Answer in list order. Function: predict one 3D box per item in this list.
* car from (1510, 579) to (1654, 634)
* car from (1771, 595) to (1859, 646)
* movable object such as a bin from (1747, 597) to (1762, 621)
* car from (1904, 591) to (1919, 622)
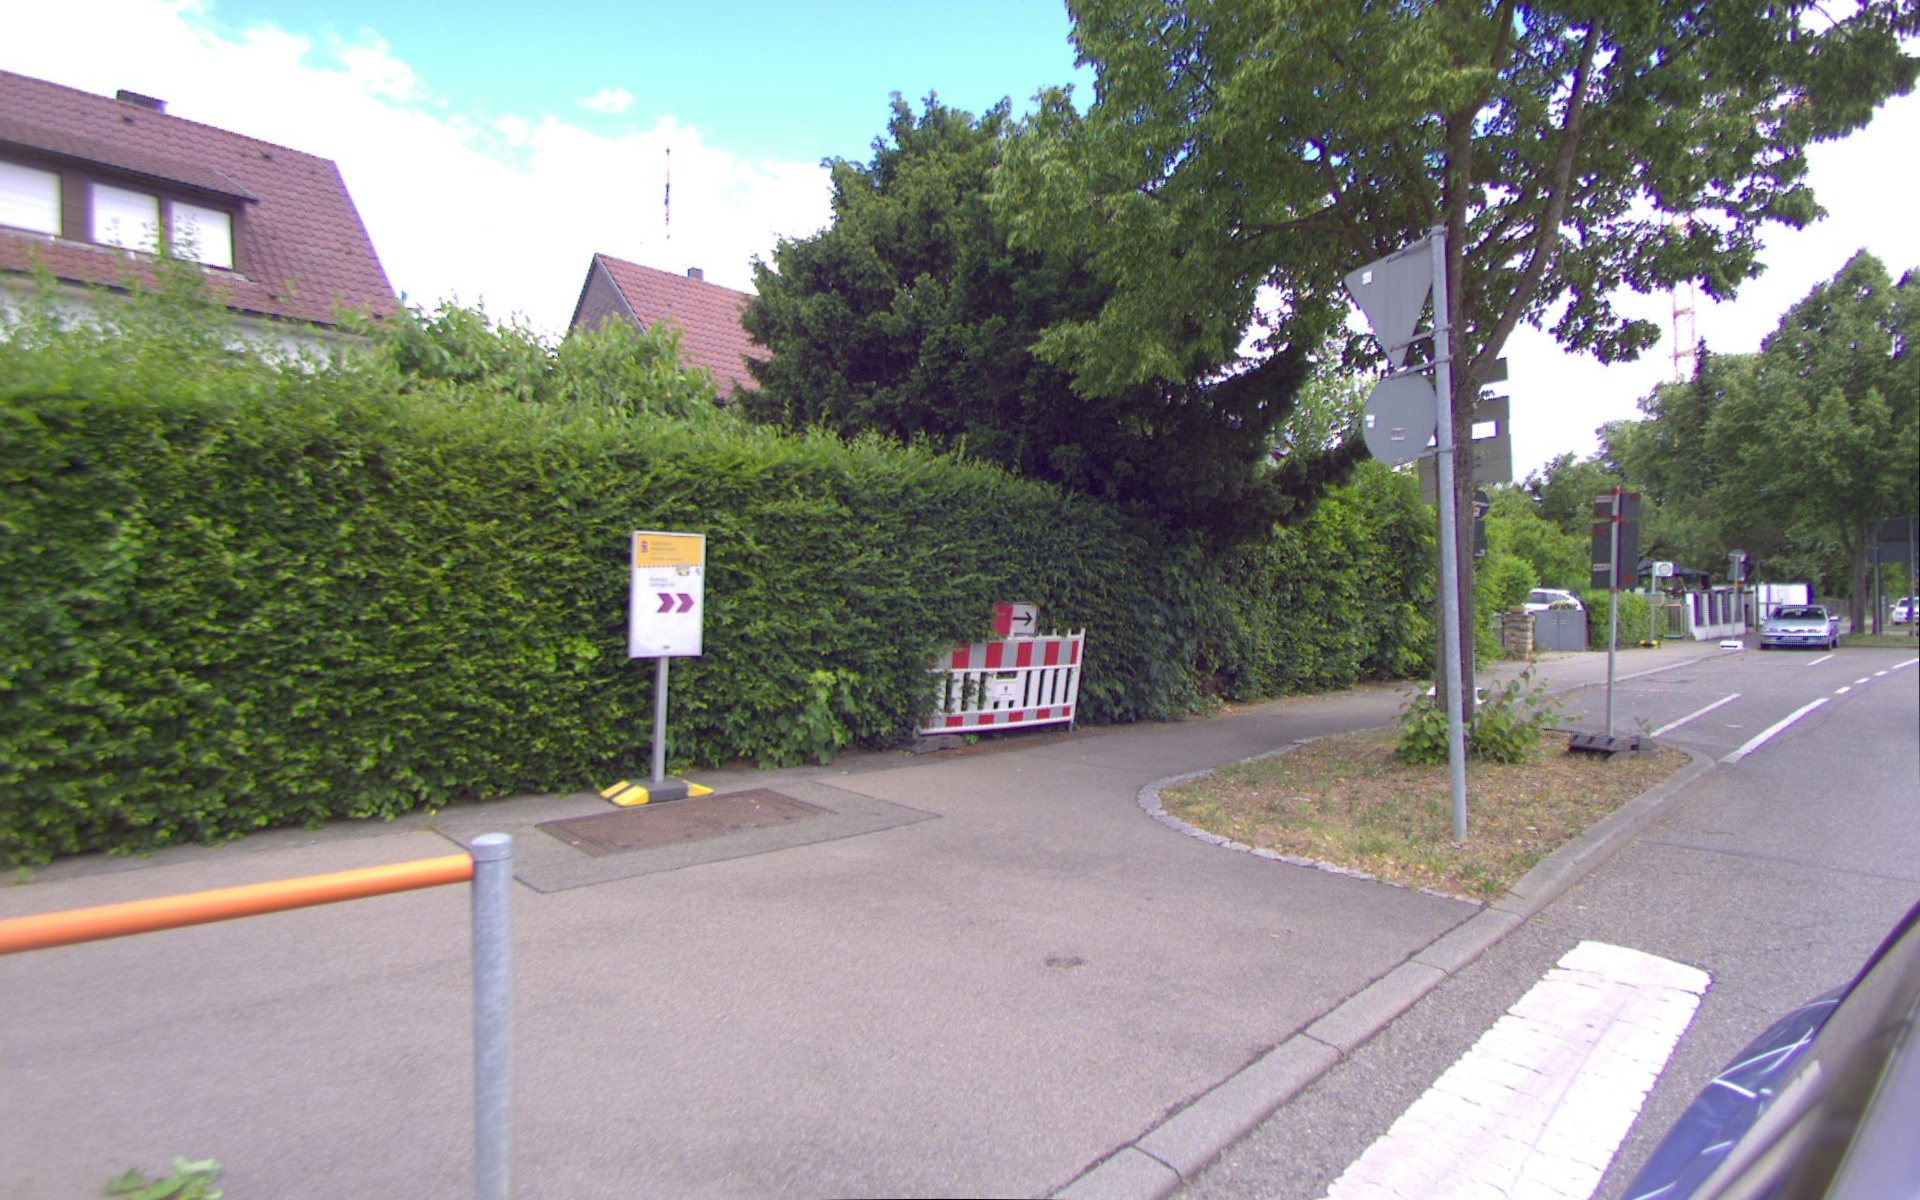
[{"bbox_3d":[21.813,0.233,35.585,3.988,1.846,1.968,-1,-1,45],"label":"car"},{"bbox_3d":[27.012,0.601,31.929,4.314,1.394,1.613,-2,1,-43],"label":"car"},{"bbox_3d":[33.926,0.385,43.220,0.447,1.035,0.437,0,-1,-42],"label":"movable object such as a bin"},{"bbox_3d":[54.067,0.318,56.394,4.048,1.663,1.902,-1,0,-44],"label":"car"}]
